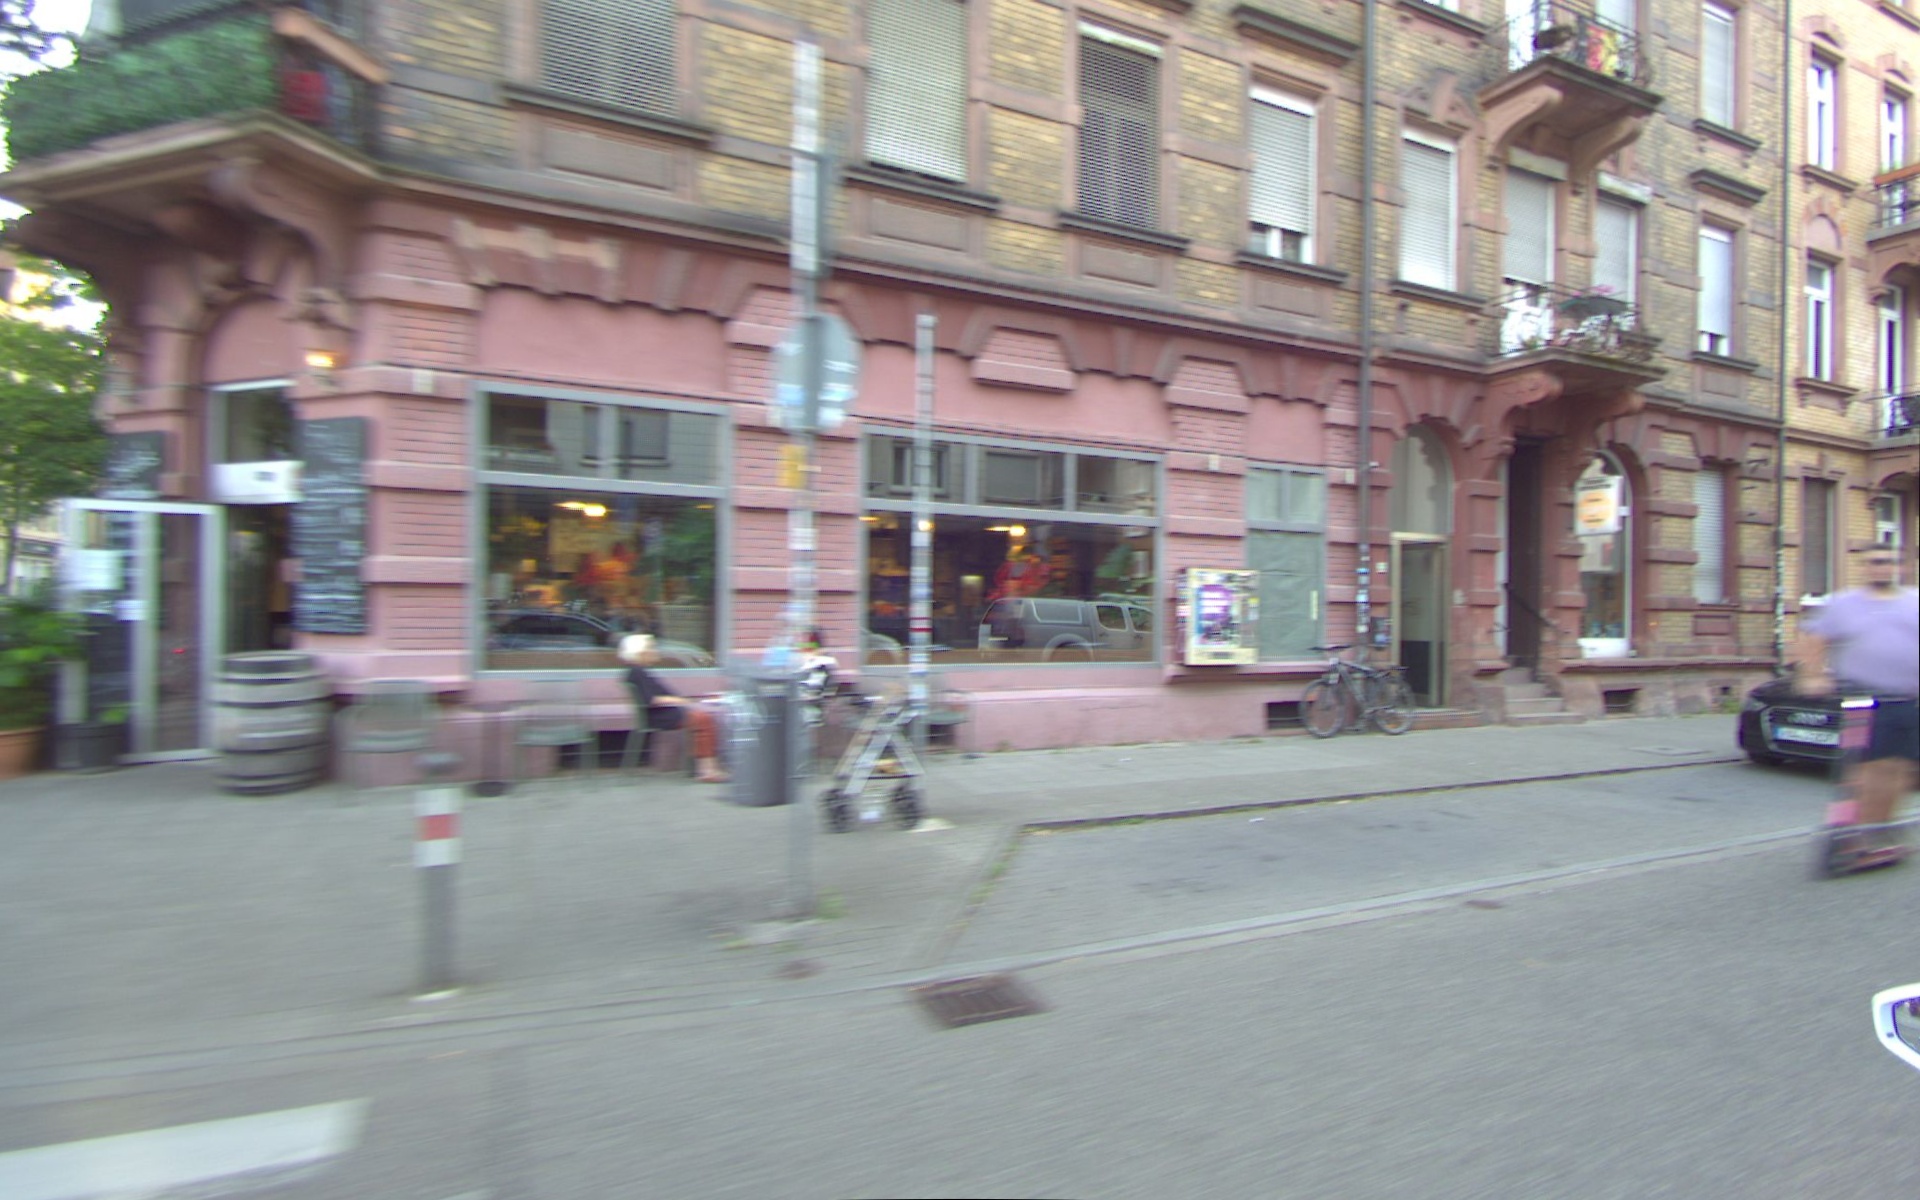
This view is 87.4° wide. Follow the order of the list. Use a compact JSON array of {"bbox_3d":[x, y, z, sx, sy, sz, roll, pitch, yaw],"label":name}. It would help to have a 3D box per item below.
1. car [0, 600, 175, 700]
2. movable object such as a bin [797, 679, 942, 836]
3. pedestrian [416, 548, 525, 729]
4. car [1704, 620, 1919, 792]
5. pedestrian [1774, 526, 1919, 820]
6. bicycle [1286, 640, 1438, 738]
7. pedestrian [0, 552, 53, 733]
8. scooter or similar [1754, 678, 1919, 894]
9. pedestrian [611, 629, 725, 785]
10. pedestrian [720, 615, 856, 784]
[{"bbox_3d":[-16.835,0.845,17.653,4.415,1.647,1.877,2,-1,-26],"label":"car"},{"bbox_3d":[-0.626,1.032,6.826,0.721,0.928,0.758,2,0,-29],"label":"movable object such as a bin"},{"bbox_3d":[-4.843,0.351,9.969,0.652,1.719,0.657,1,4,18],"label":"pedestrian"},{"bbox_3d":[9.647,0.947,10.181,3.799,1.439,1.690,1,0,-23],"label":"car"},{"bbox_3d":[5.662,0.424,6.176,0.663,1.682,0.805,0,-1,-25],"label":"pedestrian"},{"bbox_3d":[4.687,1.009,11.694,1.870,1.067,0.424,1,0,-22],"label":"bicycle"},{"bbox_3d":[-10.228,0.440,10.536,0.748,1.853,0.883,-2,1,-24],"label":"pedestrian"},{"bbox_3d":[5.663,1.077,6.167,1.156,1.119,0.805,0,-1,-25],"label":"scooter or similar"},{"bbox_3d":[-2.326,0.829,7.976,0.780,1.158,0.502,2,0,-24],"label":"pedestrian"},{"bbox_3d":[-1.433,0.786,8.379,0.901,1.271,0.642,0,3,-41],"label":"pedestrian"}]
